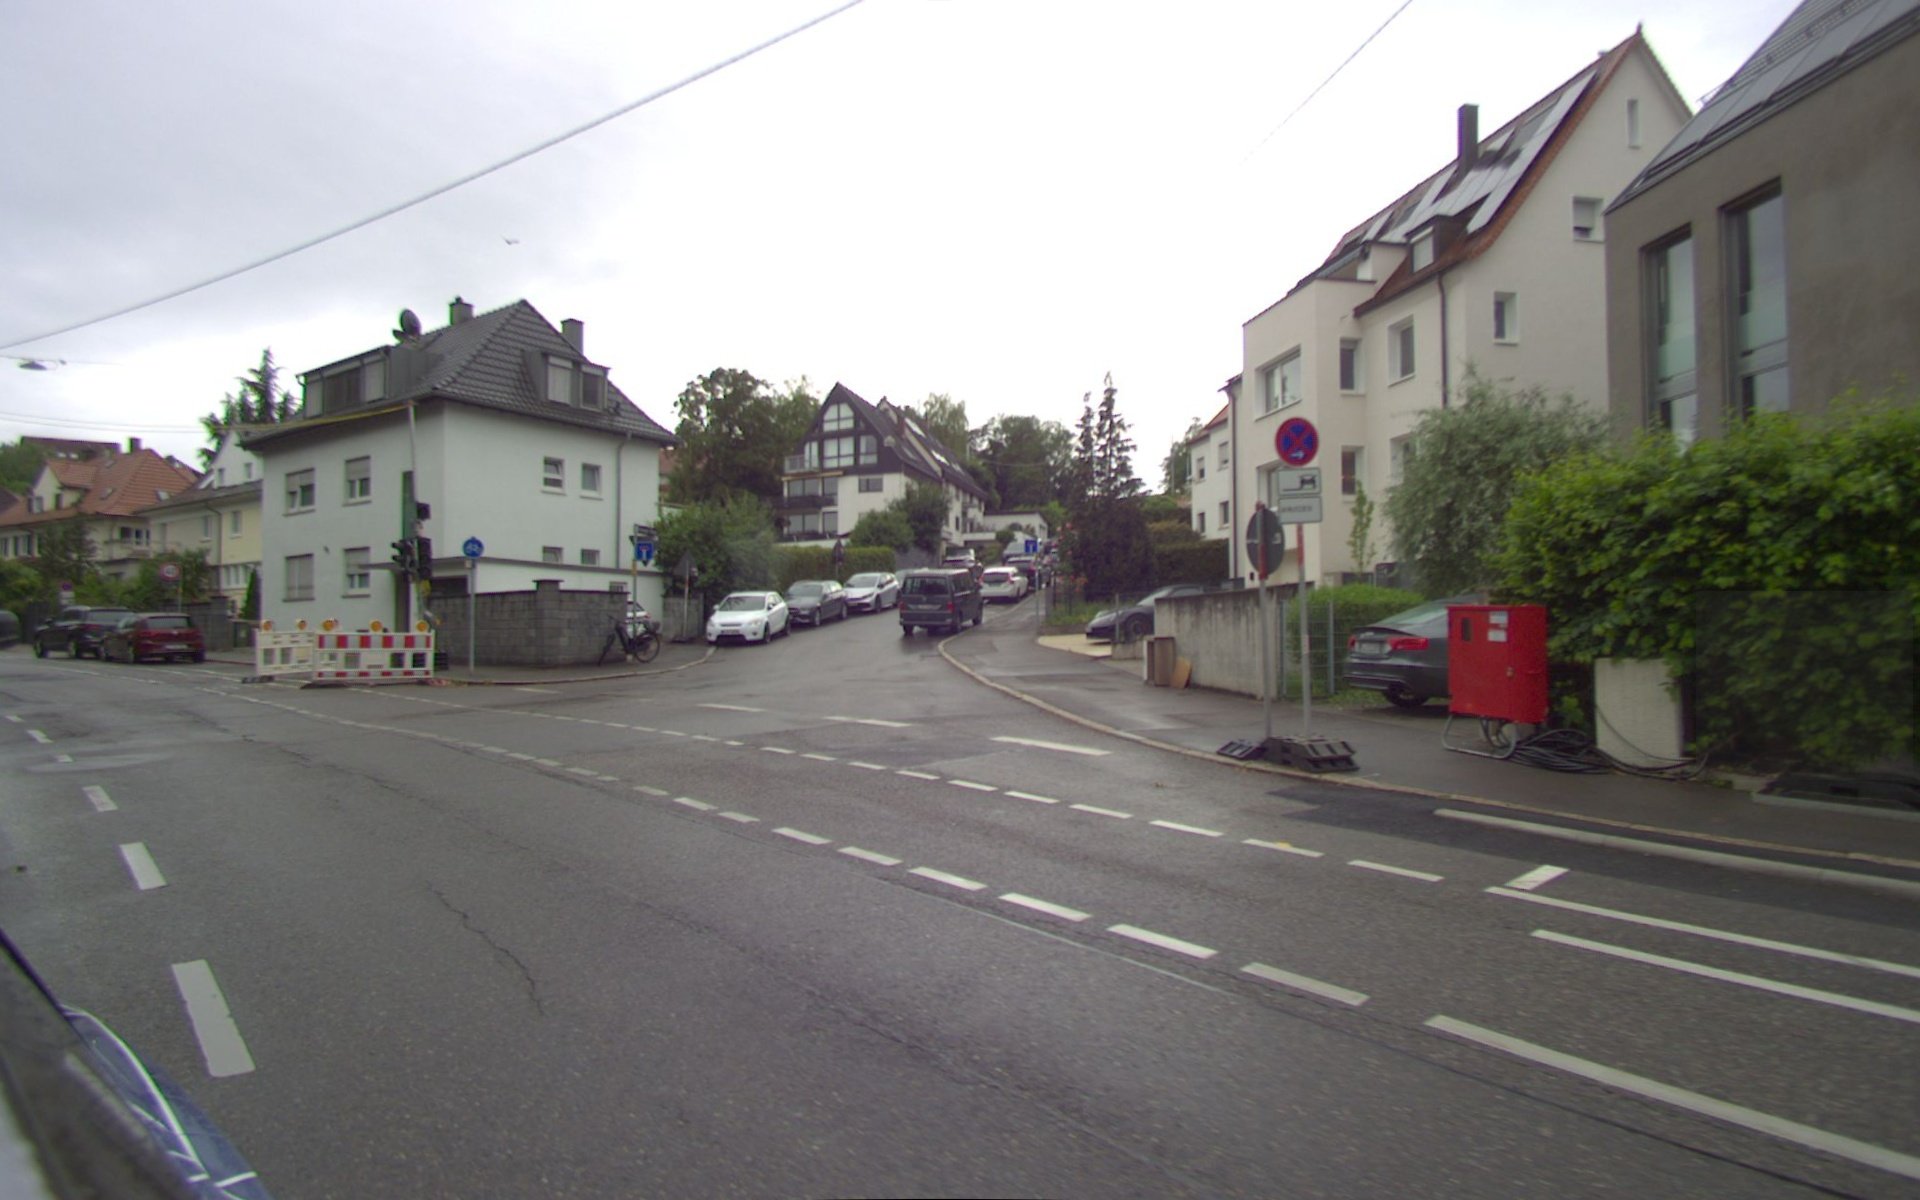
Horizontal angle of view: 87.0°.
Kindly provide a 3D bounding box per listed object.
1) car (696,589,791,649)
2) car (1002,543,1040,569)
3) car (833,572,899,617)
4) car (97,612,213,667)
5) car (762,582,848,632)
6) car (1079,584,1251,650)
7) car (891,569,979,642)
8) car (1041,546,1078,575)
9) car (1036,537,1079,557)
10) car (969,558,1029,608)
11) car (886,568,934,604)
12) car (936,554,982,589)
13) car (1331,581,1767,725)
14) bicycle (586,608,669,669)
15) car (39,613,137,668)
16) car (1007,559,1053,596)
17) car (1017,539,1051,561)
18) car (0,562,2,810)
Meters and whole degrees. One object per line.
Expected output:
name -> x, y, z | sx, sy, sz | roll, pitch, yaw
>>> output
car -> -6.464, 0.516, 30.548 | 1.729, 1.476, 3.556 | -2, 3, 6
car -> 4.427, -3.185, 72.654 | 1.723, 1.510, 3.810 | -1, 6, 19
car -> -3.793, -0.261, 41.382 | 1.567, 1.476, 3.840 | -1, 5, 13
car -> -23.829, 1.196, 29.920 | 3.792, 1.505, 1.874 | -3, -3, 38
car -> -5.497, 0.214, 36.358 | 1.687, 1.476, 3.840 | -2, 3, 13
car -> 5.135, 0.416, 25.542 | 3.860, 1.342, 1.571 | -4, 0, -10
car -> -0.752, 0.128, 33.218 | 1.897, 1.950, 3.782 | -1, 5, 14
car -> 6.113, -2.428, 61.806 | 1.680, 1.479, 3.546 | -1, 5, 15
car -> 8.405, -4.601, 87.152 | 3.579, 1.510, 1.575 | -2, 6, 12
car -> 1.727, -0.767, 43.735 | 1.903, 1.850, 3.399 | -1, 5, 14
car -> -2.277, -0.689, 46.858 | 1.323, 1.400, 3.491 | -1, 5, 13
car -> -0.016, -1.623, 56.569 | 1.325, 1.566, 3.963 | -1, 6, 19
car -> 6.779, 0.578, 11.862 | 4.197, 1.378, 1.616 | -2, -1, -6
bicycle -> -7.675, 0.858, 23.423 | 0.706, 1.321, 1.710 | 0, 0, 39
car -> -28.202, 1.321, 32.696 | 4.000, 1.601, 1.649 | -3, -1, 38
car -> 3.420, -1.118, 48.904 | 1.568, 1.479, 3.546 | -1, 5, 15
car -> 5.857, -3.955, 79.638 | 1.723, 1.510, 3.810 | -1, 6, 19
car -> -7.313, 0.575, 6.228 | 2.016, 1.908, 5.214 | -1, 0, -43
